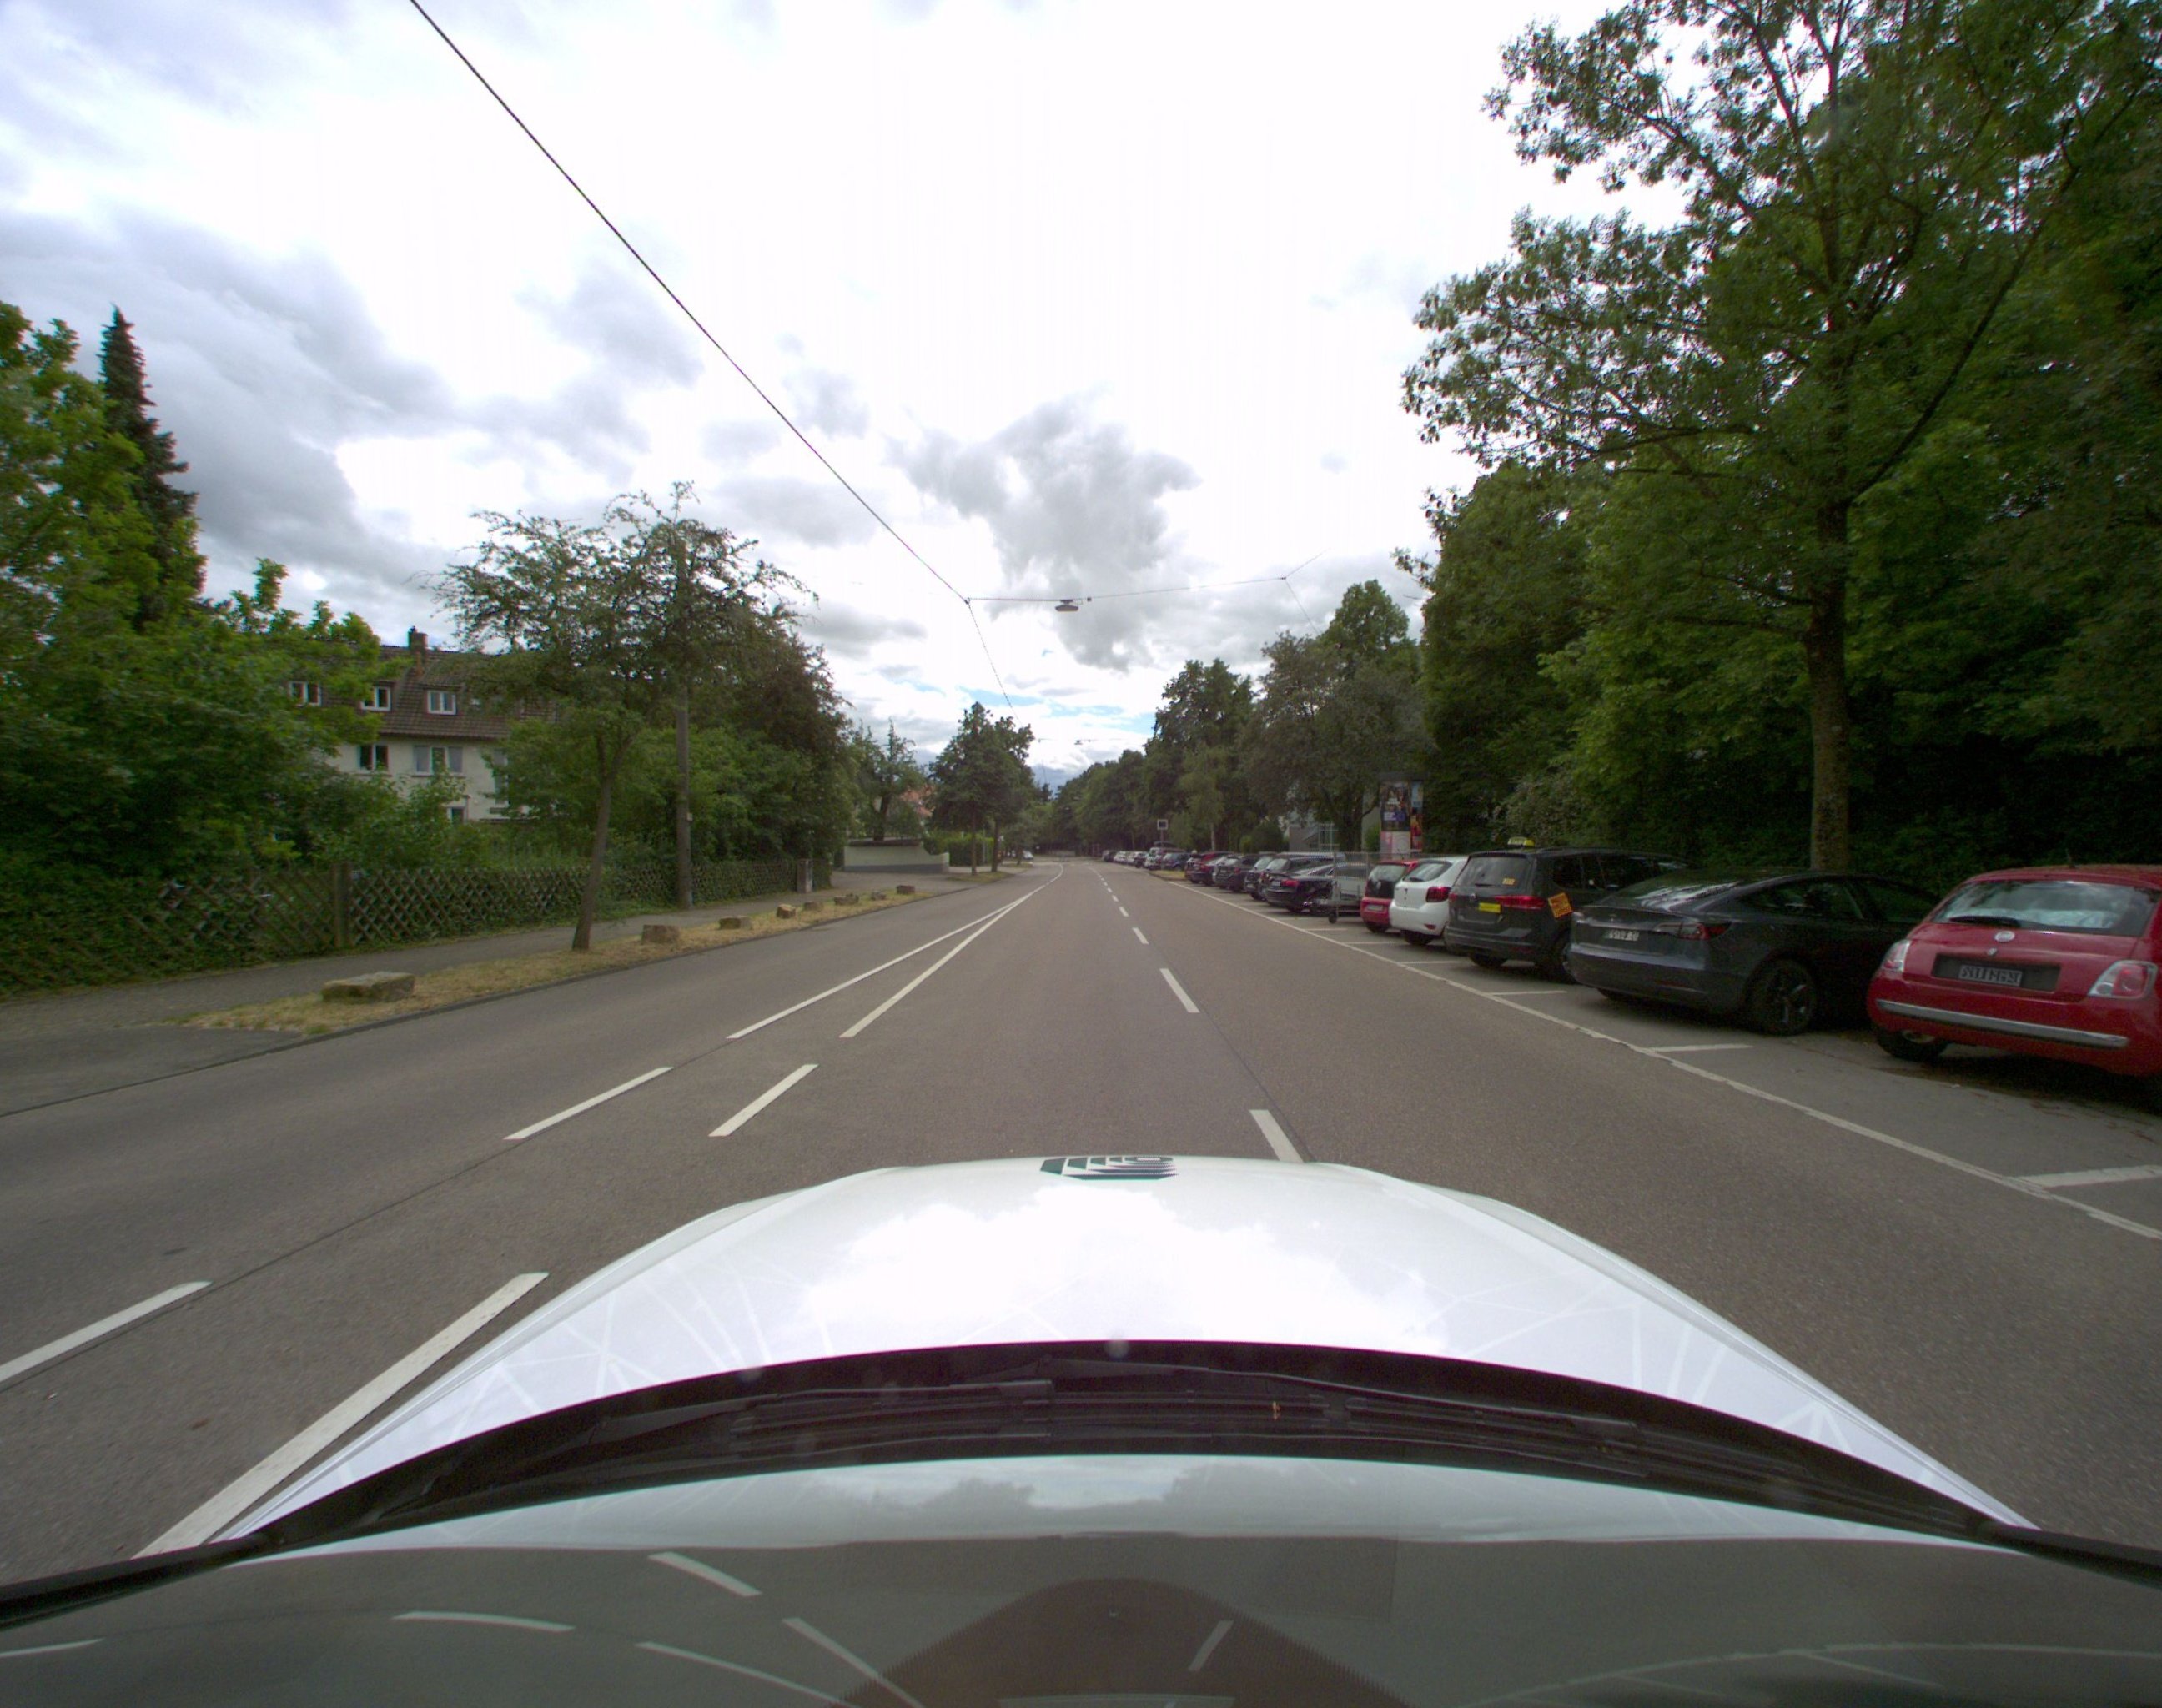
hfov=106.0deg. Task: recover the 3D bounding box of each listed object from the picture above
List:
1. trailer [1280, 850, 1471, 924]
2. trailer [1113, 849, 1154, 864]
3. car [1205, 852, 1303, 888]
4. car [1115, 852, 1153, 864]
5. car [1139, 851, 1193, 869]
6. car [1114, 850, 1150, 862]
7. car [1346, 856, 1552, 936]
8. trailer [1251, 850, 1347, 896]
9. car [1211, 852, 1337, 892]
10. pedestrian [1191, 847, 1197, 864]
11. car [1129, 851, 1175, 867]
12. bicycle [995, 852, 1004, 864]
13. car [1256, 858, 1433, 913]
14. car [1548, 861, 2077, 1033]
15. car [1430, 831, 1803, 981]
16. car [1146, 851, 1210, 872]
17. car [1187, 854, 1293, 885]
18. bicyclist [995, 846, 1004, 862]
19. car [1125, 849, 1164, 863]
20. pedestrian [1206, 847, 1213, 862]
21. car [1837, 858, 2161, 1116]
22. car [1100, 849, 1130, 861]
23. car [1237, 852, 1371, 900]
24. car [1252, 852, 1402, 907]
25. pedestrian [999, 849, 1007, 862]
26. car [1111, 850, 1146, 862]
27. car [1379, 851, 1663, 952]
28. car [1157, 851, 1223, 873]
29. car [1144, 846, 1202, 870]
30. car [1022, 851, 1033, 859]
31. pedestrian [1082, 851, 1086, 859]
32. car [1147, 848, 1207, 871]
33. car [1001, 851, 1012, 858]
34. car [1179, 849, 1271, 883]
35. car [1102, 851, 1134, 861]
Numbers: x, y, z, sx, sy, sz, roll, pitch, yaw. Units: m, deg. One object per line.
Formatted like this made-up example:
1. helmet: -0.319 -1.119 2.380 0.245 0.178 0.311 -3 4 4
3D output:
1. trailer: 6.494 0.706 18.087 3.690 1.535 1.640 1 0 -11
2. trailer: 5.716 0.317 89.391 4.167 1.573 1.701 1 0 -19
3. car: 7.129 0.640 33.645 3.617 1.445 1.626 0 0 -16
4. car: 5.991 0.419 92.081 3.902 1.309 1.730 0 0 -24
5. car: 6.910 0.477 66.448 3.973 1.449 1.908 1 0 -15
6. car: 6.117 0.287 97.868 3.897 1.429 1.732 0 0 -20
7. car: 7.097 0.762 15.822 3.427 1.445 1.553 0 0 -12
8. trailer: 7.616 0.644 28.542 2.989 1.542 1.298 0 1 -13
9. car: 7.234 0.658 30.619 4.350 1.445 1.626 0 1 -14
10. pedestrian: 11.662 0.149 84.022 0.646 1.671 0.745 -1 0 6
11. car: 6.603 0.421 76.019 3.902 1.449 1.830 0 0 -24
12. bicycle: -8.926 0.438 89.176 0.843 1.266 2.650 0 1 -2
13. car: 6.657 0.772 20.692 4.035 1.327 1.555 0 -1 -9
14. car: 6.989 0.782 7.942 4.161 1.407 1.692 0 0 -11
15. car: 6.828 0.612 10.558 3.984 1.725 1.675 0 0 -9
16. car: 6.749 0.502 56.685 4.038 1.405 1.746 1 0 -18
17. car: 7.038 0.678 36.214 4.318 1.341 1.726 0 0 -14
18. bicyclist: -8.922 -0.010 89.052 0.843 1.697 0.713 0 1 -3
19. car: 6.803 0.241 87.224 3.899 1.449 1.731 0 0 -21
20. pedestrian: 13.739 0.076 87.045 0.646 1.603 0.745 -1 0 5
21. car: 7.574 0.771 5.745 3.326 1.464 1.630 0 0 -10
22. car: 4.728 0.102 113.219 3.897 1.668 1.732 0 0 -20
23. car: 7.121 0.672 26.098 3.842 1.455 1.628 0 0 -12
24. car: 7.087 0.704 23.534 3.918 1.486 1.610 0 0 -15
25. pedestrian: -10.346 0.166 107.905 0.972 1.730 0.848 -1 0 -4
26. car: 5.841 0.244 100.441 3.897 1.429 1.732 0 0 -20
27. car: 7.018 0.727 13.204 3.813 1.529 1.604 0 0 -4
28. car: 7.212 0.519 54.084 3.971 1.405 1.748 1 0 -15
29. car: 7.073 0.323 62.525 4.108 1.754 1.771 1 0 -27
30. car: -9.952 0.165 152.310 1.865 1.471 3.991 -1 0 -7
31. pedestrian: 0.563 0.183 167.972 0.736 1.570 0.653 -1 0 11
32. car: 7.024 0.400 59.598 4.005 1.620 1.874 1 0 -16
33. car: -16.493 0.162 180.502 1.869 1.471 3.983 -1 0 -13
34. car: 6.885 0.547 39.058 4.087 1.515 1.721 0 0 -22
35. car: 5.013 0.258 110.433 3.897 1.429 1.732 0 0 -20
